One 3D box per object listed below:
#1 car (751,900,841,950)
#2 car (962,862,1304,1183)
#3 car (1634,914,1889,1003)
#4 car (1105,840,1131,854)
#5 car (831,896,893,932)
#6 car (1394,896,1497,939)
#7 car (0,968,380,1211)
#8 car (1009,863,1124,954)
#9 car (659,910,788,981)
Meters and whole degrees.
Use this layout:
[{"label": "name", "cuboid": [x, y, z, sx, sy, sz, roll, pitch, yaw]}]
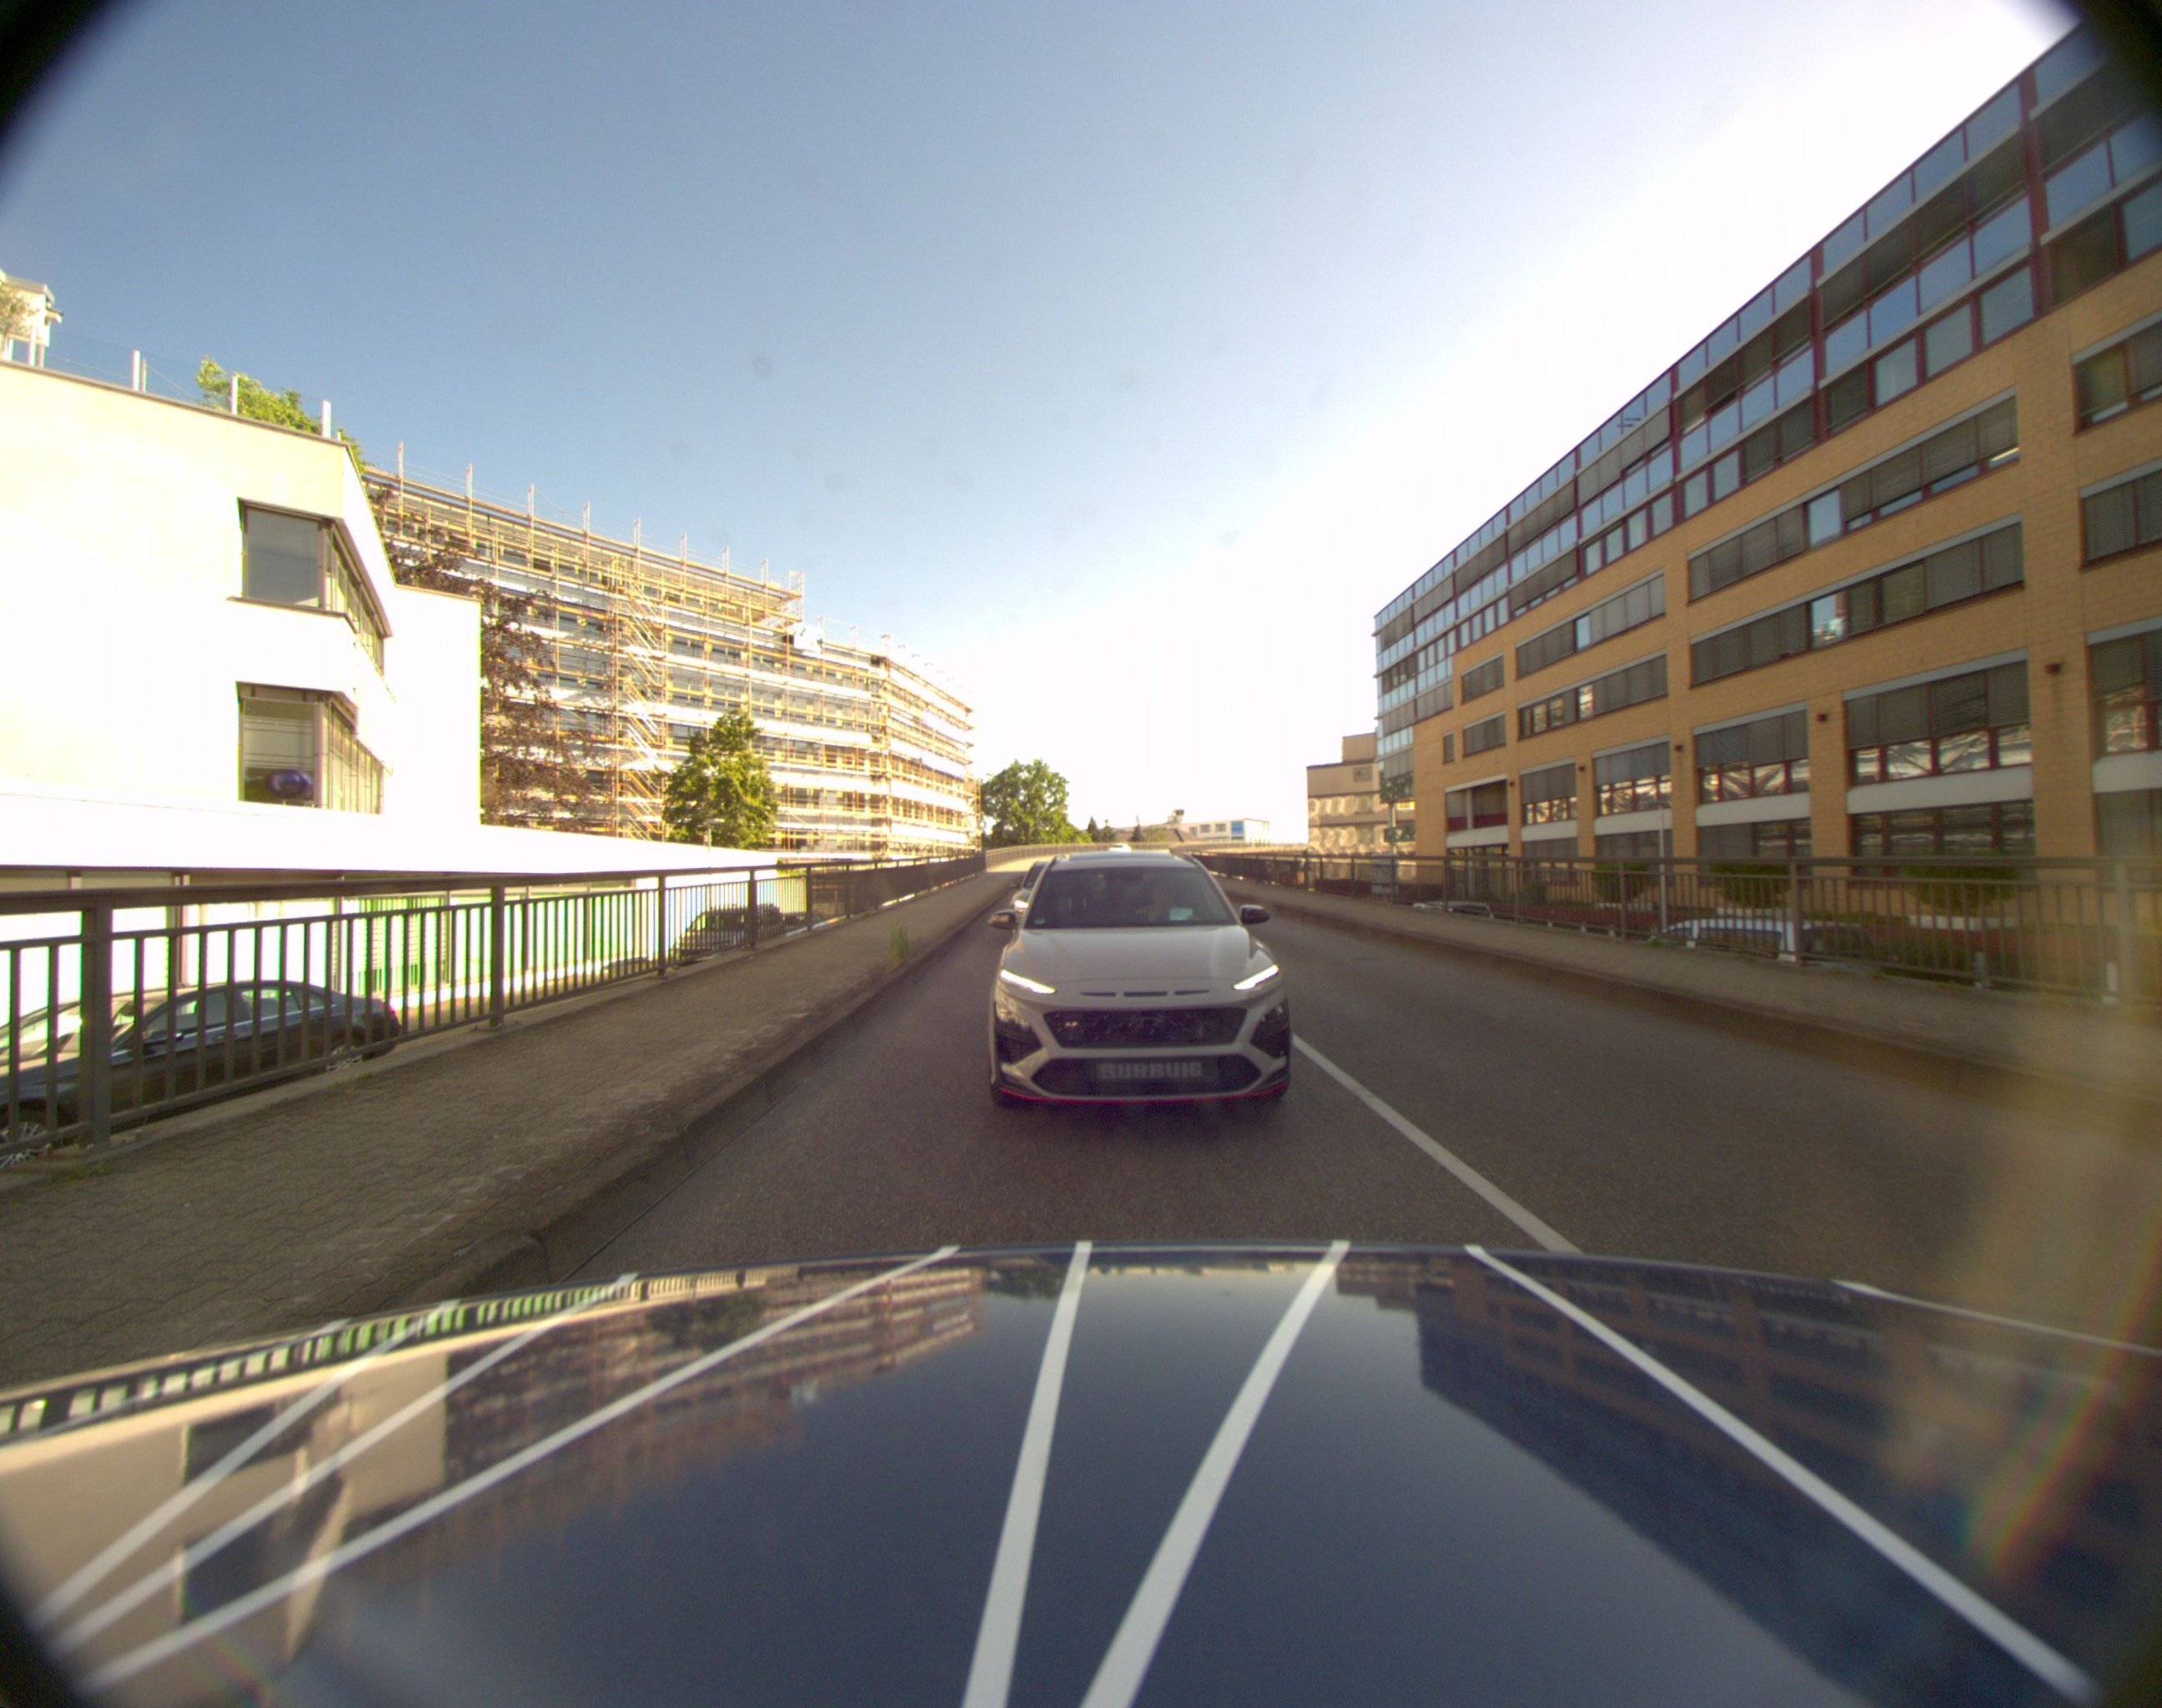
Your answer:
[{"label": "car", "cuboid": [-10.087, 2.483, 27.219, 1.726, 1.383, 4.000, -2, -1, -1]}, {"label": "car", "cuboid": [0.291, 0.891, 5.895, 1.749, 1.637, 4.001, 0, -1, 1]}, {"label": "car", "cuboid": [13.051, 1.943, 14.924, 1.580, 1.261, 3.809, 0, -1, -1]}, {"label": "car", "cuboid": [4.184, -0.794, 85.534, 1.949, 1.456, 4.003, 4, 3, 15]}, {"label": "car", "cuboid": [-10.210, 2.778, 35.679, 1.726, 1.383, 4.000, -2, -1, -1]}, {"label": "car", "cuboid": [12.745, 2.198, 26.832, 1.766, 1.261, 3.809, 0, -1, -1]}, {"label": "car", "cuboid": [-9.594, 2.172, 7.420, 1.726, 1.513, 4.001, -2, -1, 1]}, {"label": "car", "cuboid": [-0.284, 0.938, 14.742, 1.902, 1.433, 4.126, 0, 0, -1]}, {"label": "car", "cuboid": [-9.905, 2.476, 21.431, 1.726, 1.513, 4.000, -2, -1, -1]}]
